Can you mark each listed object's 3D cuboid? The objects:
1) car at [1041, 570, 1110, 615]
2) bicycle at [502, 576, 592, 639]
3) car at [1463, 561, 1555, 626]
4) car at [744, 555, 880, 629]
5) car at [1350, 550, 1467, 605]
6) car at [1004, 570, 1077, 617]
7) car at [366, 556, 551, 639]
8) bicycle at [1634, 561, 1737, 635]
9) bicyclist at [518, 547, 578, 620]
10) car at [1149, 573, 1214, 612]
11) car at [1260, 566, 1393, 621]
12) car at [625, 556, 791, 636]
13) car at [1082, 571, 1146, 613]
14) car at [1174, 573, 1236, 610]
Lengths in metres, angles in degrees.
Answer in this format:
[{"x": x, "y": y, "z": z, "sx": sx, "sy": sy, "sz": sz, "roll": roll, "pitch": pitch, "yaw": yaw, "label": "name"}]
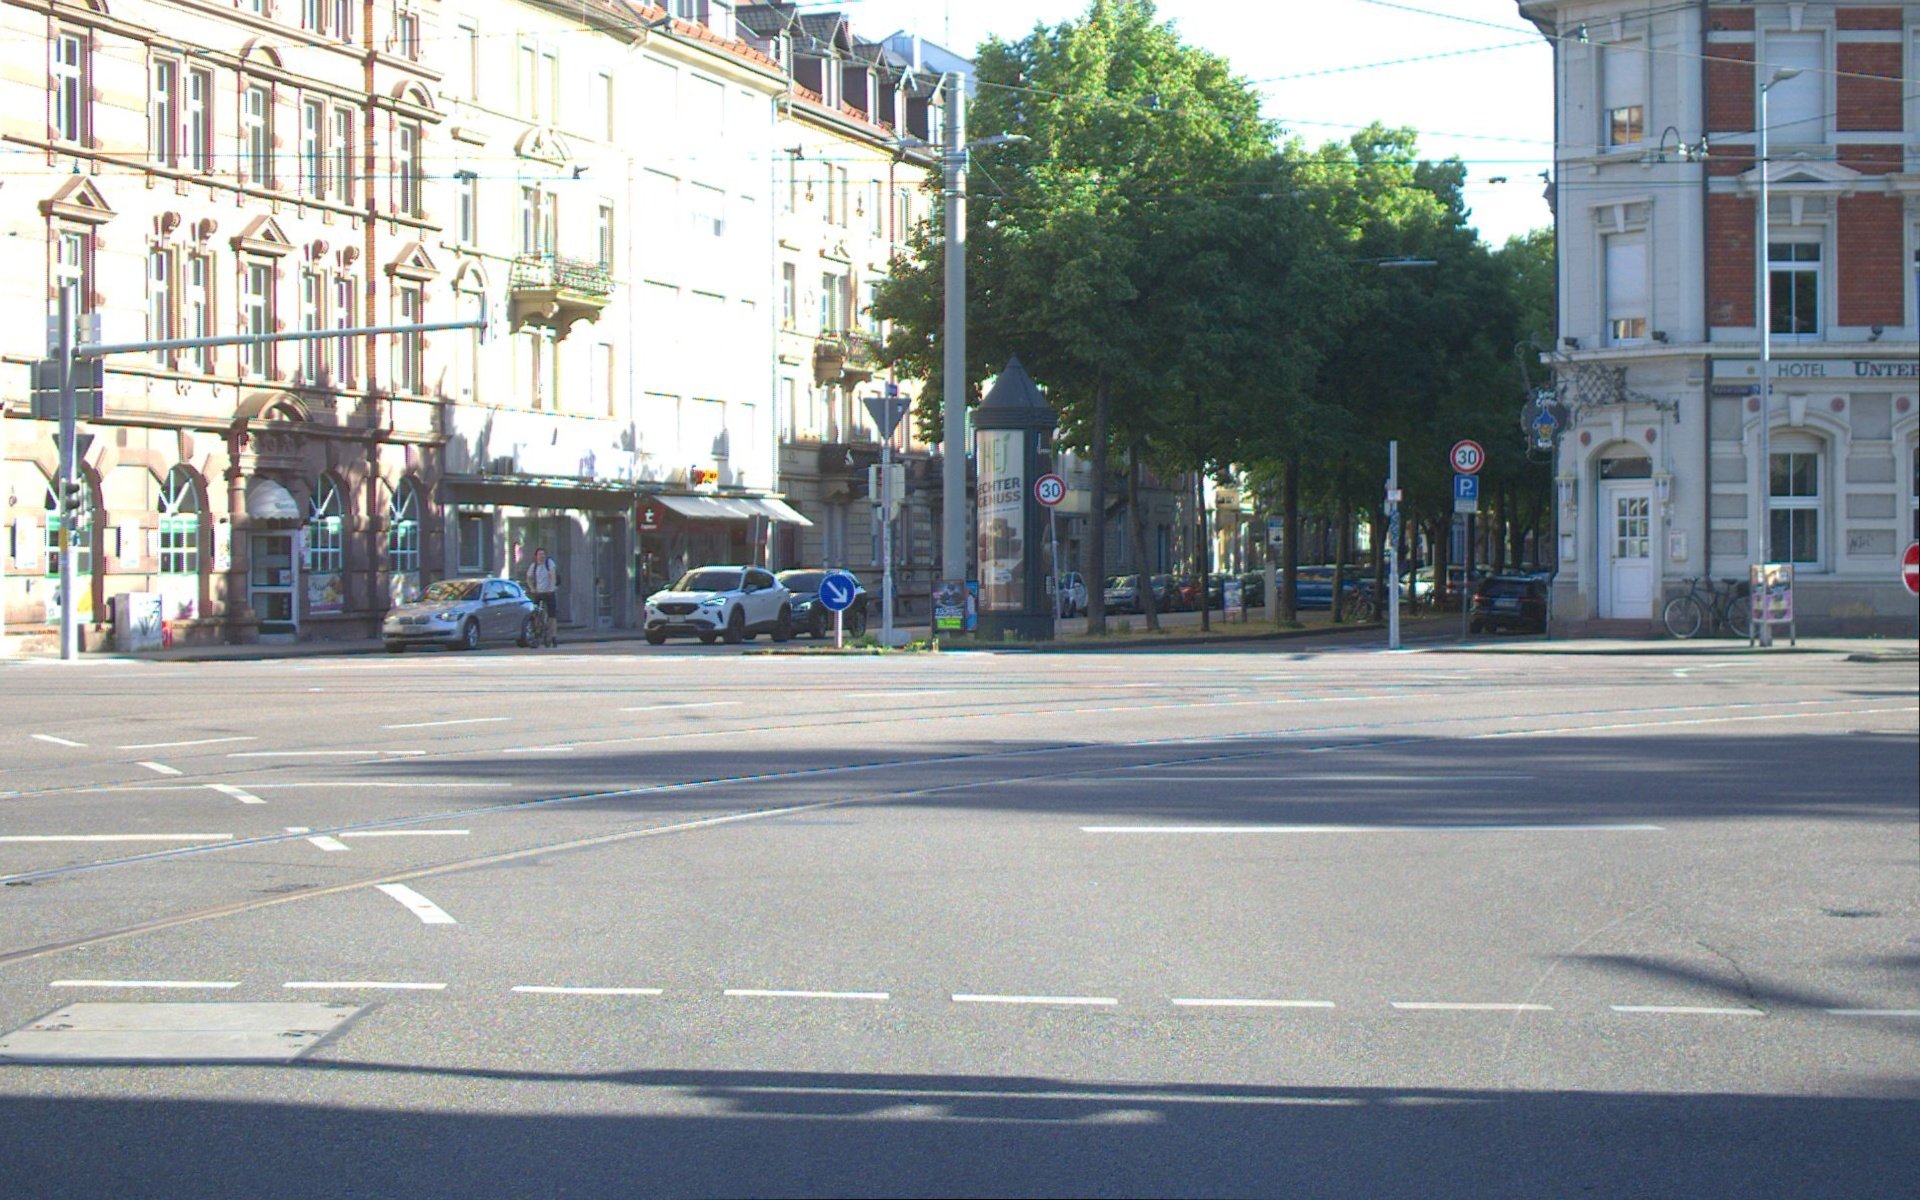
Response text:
[{"x": 3.920, "y": -0.255, "z": 115.809, "sx": 1.741, "sy": 1.393, "sz": 4.122, "roll": 3, "pitch": 1, "yaw": 9, "label": "car"}, {"x": -7.867, "y": 0.128, "z": 65.632, "sx": 0.751, "sy": 1.131, "sz": 2.808, "roll": 0, "pitch": 1, "yaw": 14, "label": "bicycle"}, {"x": 13.167, "y": -0.155, "z": 82.289, "sx": 1.652, "sy": 1.519, "sz": 3.750, "roll": 0, "pitch": 0, "yaw": 17, "label": "car"}, {"x": -3.130, "y": -0.189, "z": 73.536, "sx": 1.994, "sy": 1.508, "sz": 3.998, "roll": 0, "pitch": 1, "yaw": 12, "label": "car"}, {"x": 17.409, "y": -0.877, "z": 133.427, "sx": 4.115, "sy": 1.912, "sz": 1.744, "roll": 3, "pitch": 1, "yaw": 21, "label": "car"}, {"x": 2.596, "y": -0.216, "z": 110.004, "sx": 1.741, "sy": 1.393, "sz": 4.122, "roll": 3, "pitch": 1, "yaw": 9, "label": "car"}, {"x": -9.778, "y": -0.070, "z": 67.383, "sx": 2.098, "sy": 1.540, "sz": 4.361, "roll": 0, "pitch": 1, "yaw": 14, "label": "car"}, {"x": 12.061, "y": -0.032, "z": 57.137, "sx": 1.639, "sy": 1.218, "sz": 0.606, "roll": 0, "pitch": 1, "yaw": 16, "label": "bicycle"}, {"x": -7.854, "y": -0.314, "z": 65.594, "sx": 0.794, "sy": 1.370, "sz": 1.107, "roll": 0, "pitch": 1, "yaw": 14, "label": "bicyclist"}, {"x": 8.508, "y": -0.313, "z": 131.610, "sx": 1.742, "sy": 1.393, "sz": 4.121, "roll": 3, "pitch": 1, "yaw": 13, "label": "car"}, {"x": 12.291, "y": -0.225, "z": 115.228, "sx": 4.113, "sy": 1.640, "sz": 1.745, "roll": 3, "pitch": 1, "yaw": 15, "label": "car"}, {"x": -4.879, "y": -0.102, "z": 67.169, "sx": 2.098, "sy": 1.494, "sz": 3.998, "roll": 0, "pitch": 1, "yaw": 14, "label": "car"}, {"x": 5.507, "y": -0.303, "z": 122.786, "sx": 1.741, "sy": 1.393, "sz": 4.122, "roll": 3, "pitch": 1, "yaw": 9, "label": "car"}, {"x": 9.726, "y": -0.348, "z": 136.389, "sx": 1.742, "sy": 1.393, "sz": 4.121, "roll": 3, "pitch": 1, "yaw": 13, "label": "car"}]
